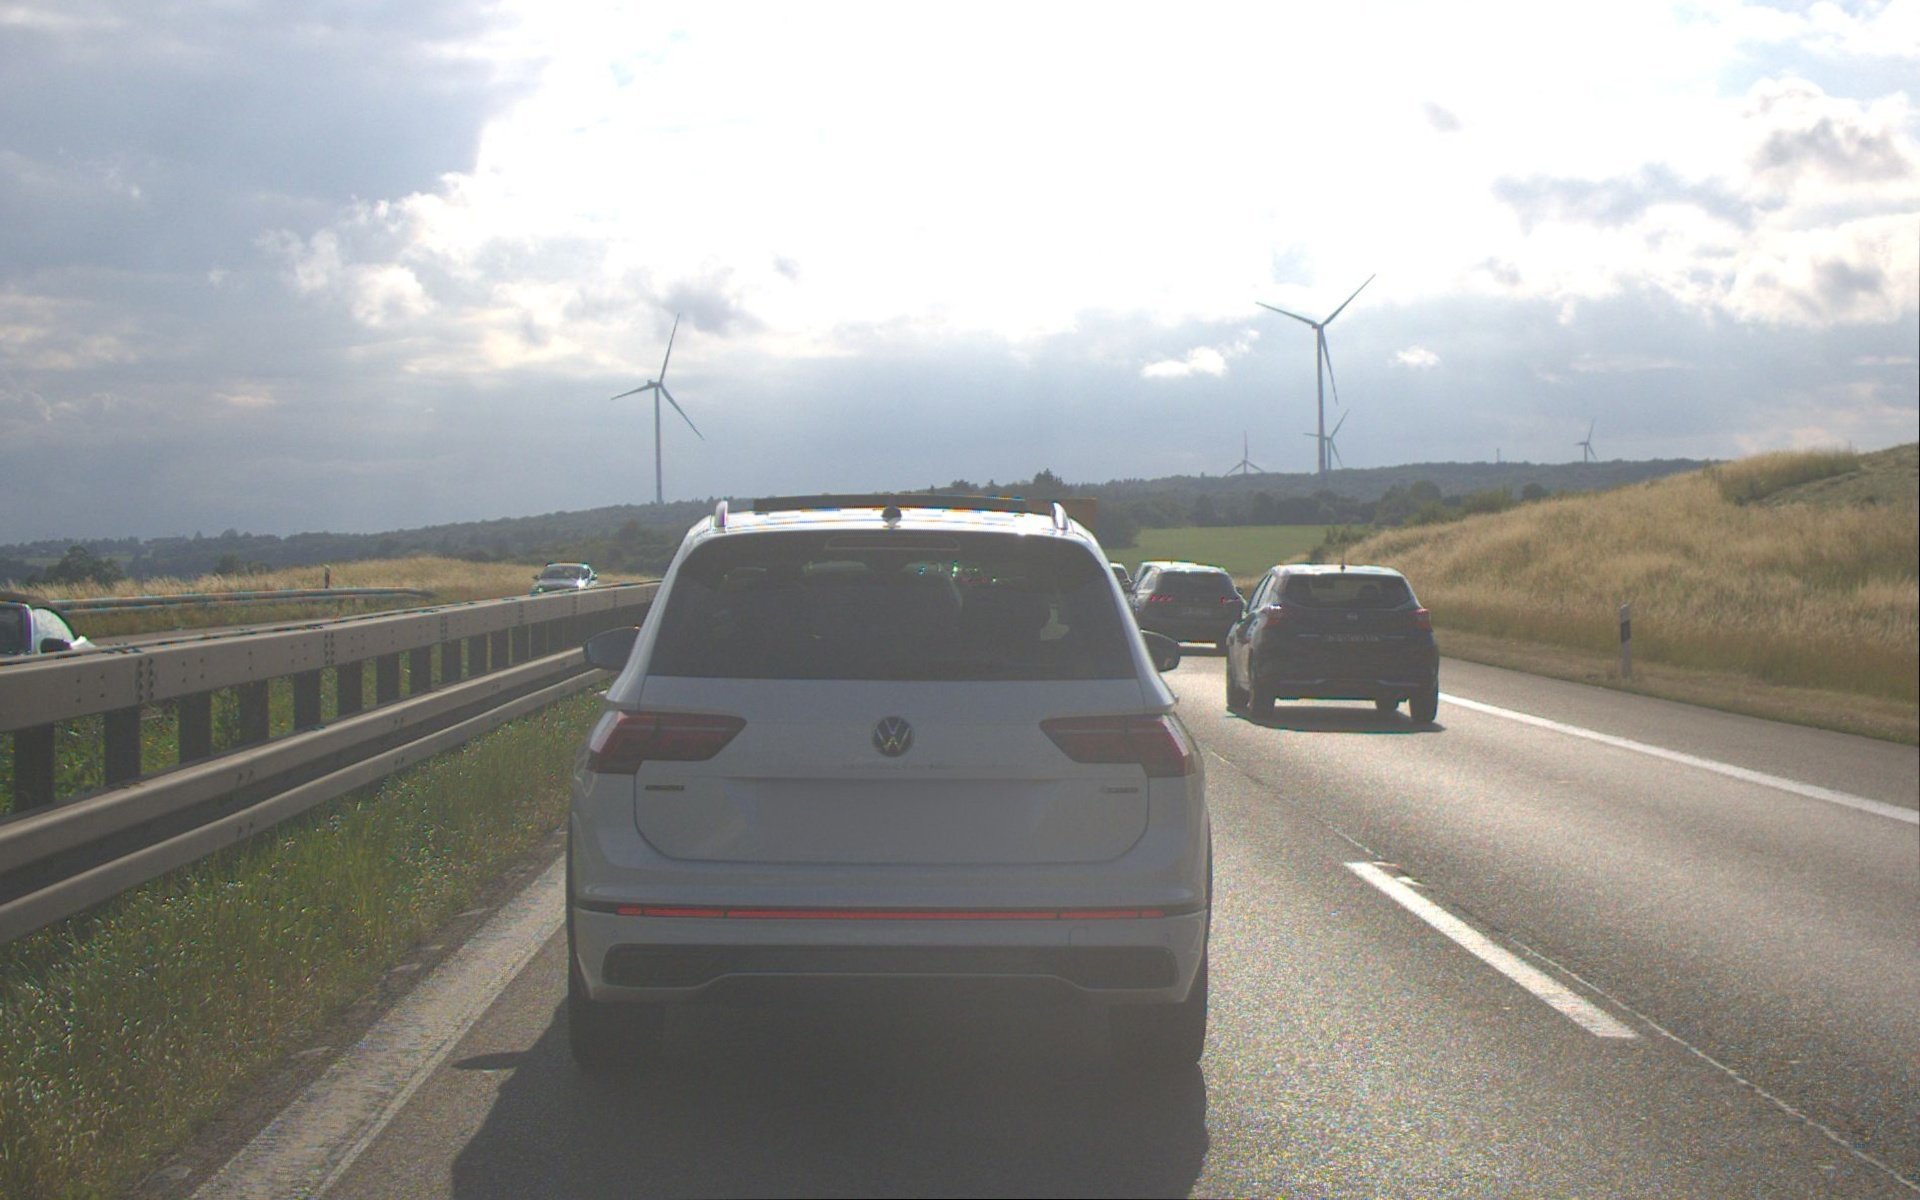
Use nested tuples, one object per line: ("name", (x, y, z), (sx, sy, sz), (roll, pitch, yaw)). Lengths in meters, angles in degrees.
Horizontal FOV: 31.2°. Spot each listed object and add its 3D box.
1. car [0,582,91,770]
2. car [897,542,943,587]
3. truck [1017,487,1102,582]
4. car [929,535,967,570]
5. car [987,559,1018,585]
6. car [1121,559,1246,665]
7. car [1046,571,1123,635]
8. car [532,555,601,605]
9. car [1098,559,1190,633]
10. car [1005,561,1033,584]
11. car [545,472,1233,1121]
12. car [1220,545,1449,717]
("car", (-8.012, 0.557, 26.723), (1.615, 1.387, 4.000), (1, 0, -2))
("car", (-1.515, -1.323, 129.081), (1.704, 1.644, 4.000), (1, 0, -1))
("truck", (3.901, -2.617, 136.576), (3.184, 3.581, 11.130), (1, 1, 1))
("car", (-0.551, -2.186, 159.104), (1.704, 1.540, 4.000), (1, 0, -1))
("car", (2.493, -1.638, 201.219), (1.704, 1.540, 4.000), (1, 0, -1))
("car", (3.617, 0.173, 56.161), (1.704, 1.644, 4.000), (1, 0, -1))
("car", (3.088, 0.065, 85.820), (1.704, 1.540, 4.000), (1, 0, -1))
("car", (-12.109, -0.618, 105.992), (1.749, 1.474, 4.480), (1, 0, -2))
("car", (3.968, -0.099, 74.530), (1.704, 1.540, 4.000), (1, 0, -1))
("car", (3.932, -1.831, 229.578), (1.704, 1.540, 4.000), (1, 0, -1))
("car", (-0.215, 0.498, 10.948), (1.770, 1.670, 4.000), (1, 0, -1))
("car", (3.566, 0.268, 33.361), (1.704, 1.540, 4.000), (1, 0, -1))
